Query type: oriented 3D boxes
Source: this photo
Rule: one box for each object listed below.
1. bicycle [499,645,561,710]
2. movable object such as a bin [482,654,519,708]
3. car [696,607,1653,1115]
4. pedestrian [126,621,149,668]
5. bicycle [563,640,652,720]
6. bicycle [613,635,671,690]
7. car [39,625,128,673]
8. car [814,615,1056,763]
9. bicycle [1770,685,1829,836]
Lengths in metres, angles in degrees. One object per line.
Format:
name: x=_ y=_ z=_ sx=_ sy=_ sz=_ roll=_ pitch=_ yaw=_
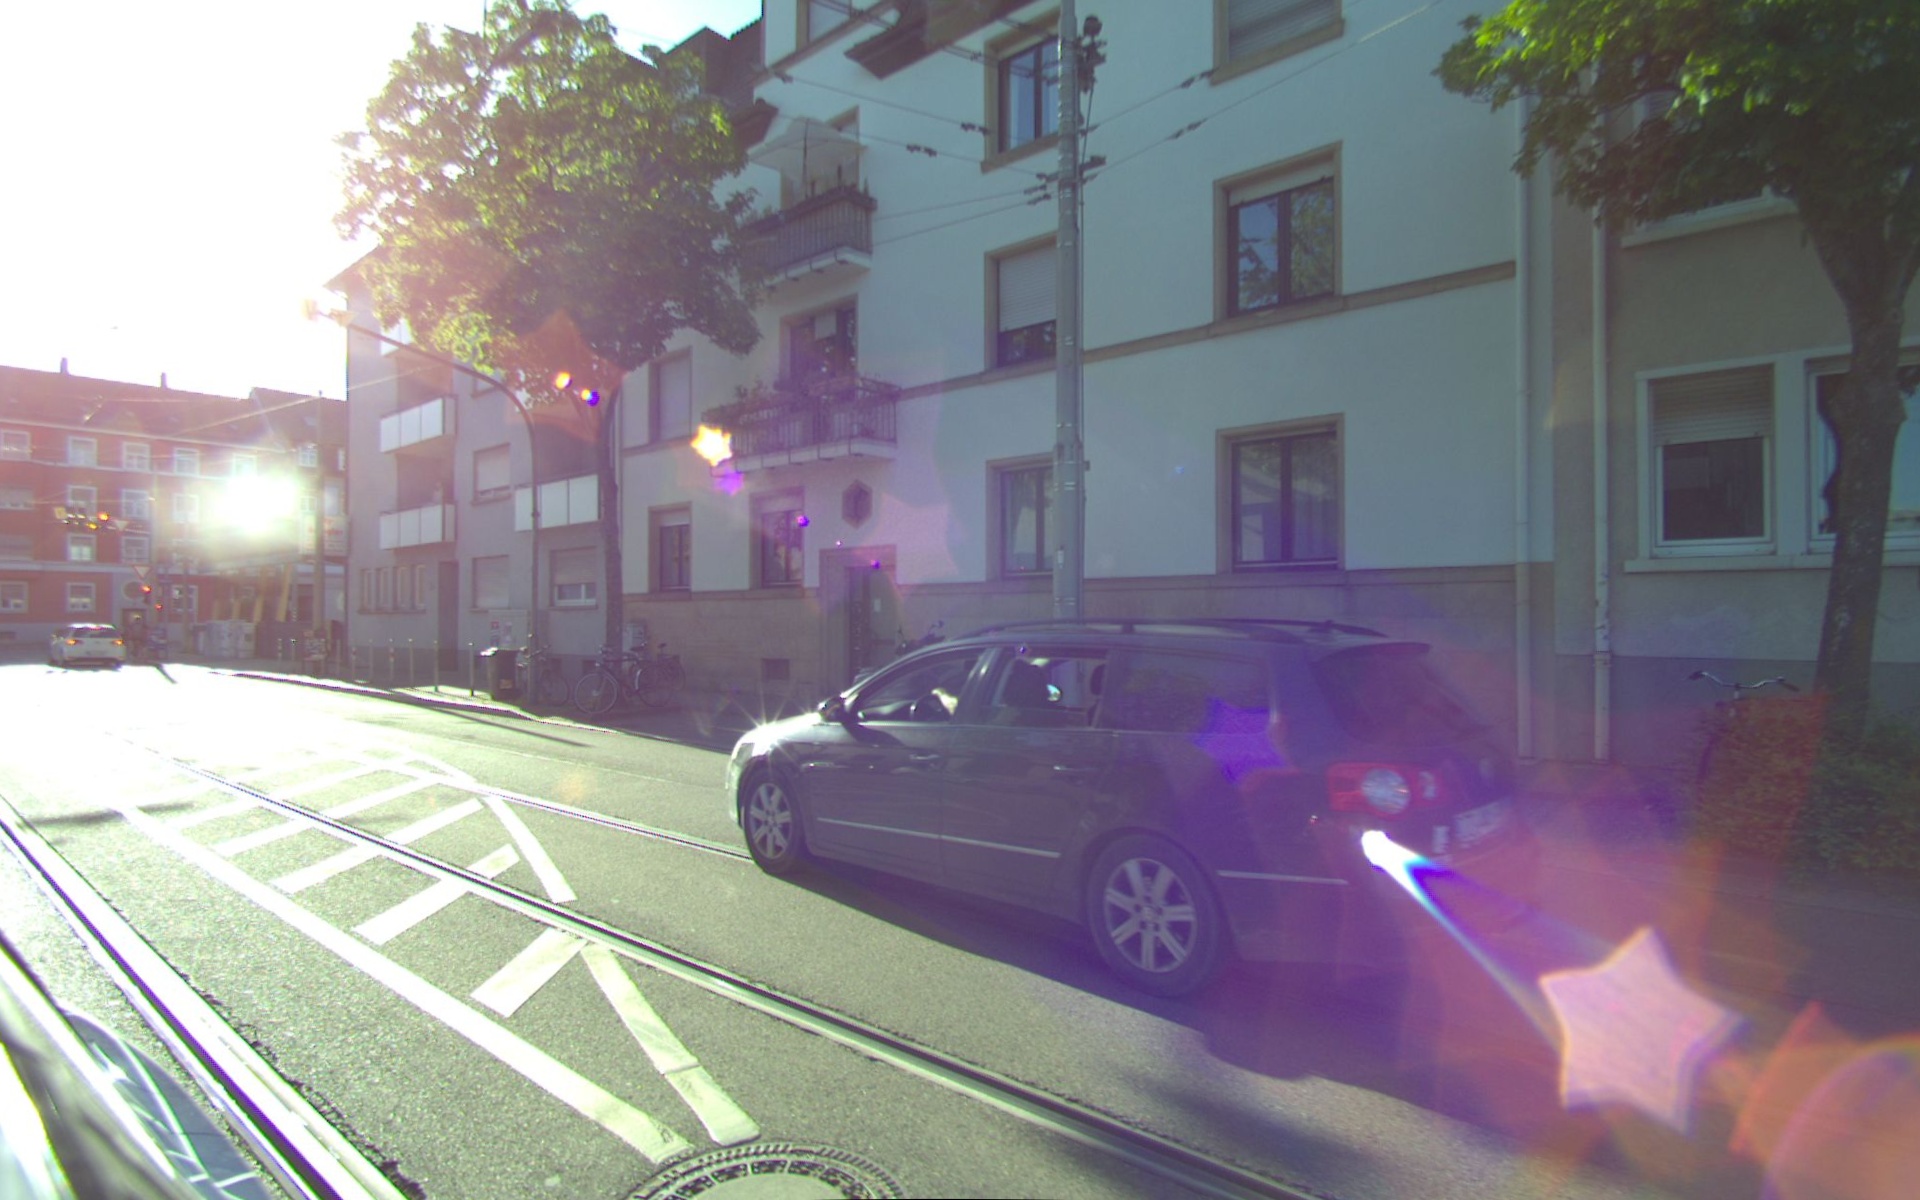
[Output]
bicycle: x=-7.487 y=1.328 z=17.588 sx=1.661 sy=1.050 sz=0.299 roll=-1 pitch=-1 yaw=42
movable object such as a bin: x=-8.390 y=1.472 z=18.484 sx=0.582 sy=0.942 sz=0.420 roll=-1 pitch=-1 yaw=42
car: x=0.593 y=0.812 z=5.297 sx=1.745 sy=1.474 sz=4.751 roll=2 pitch=-2 yaw=-43
pedestrian: x=-32.341 y=1.743 z=39.790 sx=0.583 sy=1.787 sz=0.631 roll=-1 pitch=-1 yaw=41
bicycle: x=-5.695 y=1.270 z=16.382 sx=0.409 sy=1.178 sz=1.326 roll=-1 pitch=-1 yaw=42
bicycle: x=-6.421 y=1.243 z=20.415 sx=1.661 sy=1.050 sz=0.299 roll=-1 pitch=-1 yaw=42
car: x=-31.250 y=1.696 z=36.041 sx=3.999 sy=1.536 sz=1.898 roll=-1 pitch=0 yaw=42
car: x=-0.332 y=1.003 z=11.813 sx=2.546 sy=1.514 sz=1.341 roll=-5 pitch=-3 yaw=41
bicycle: x=5.858 y=1.065 z=7.089 sx=0.276 sy=0.808 sz=1.769 roll=-1 pitch=0 yaw=39
